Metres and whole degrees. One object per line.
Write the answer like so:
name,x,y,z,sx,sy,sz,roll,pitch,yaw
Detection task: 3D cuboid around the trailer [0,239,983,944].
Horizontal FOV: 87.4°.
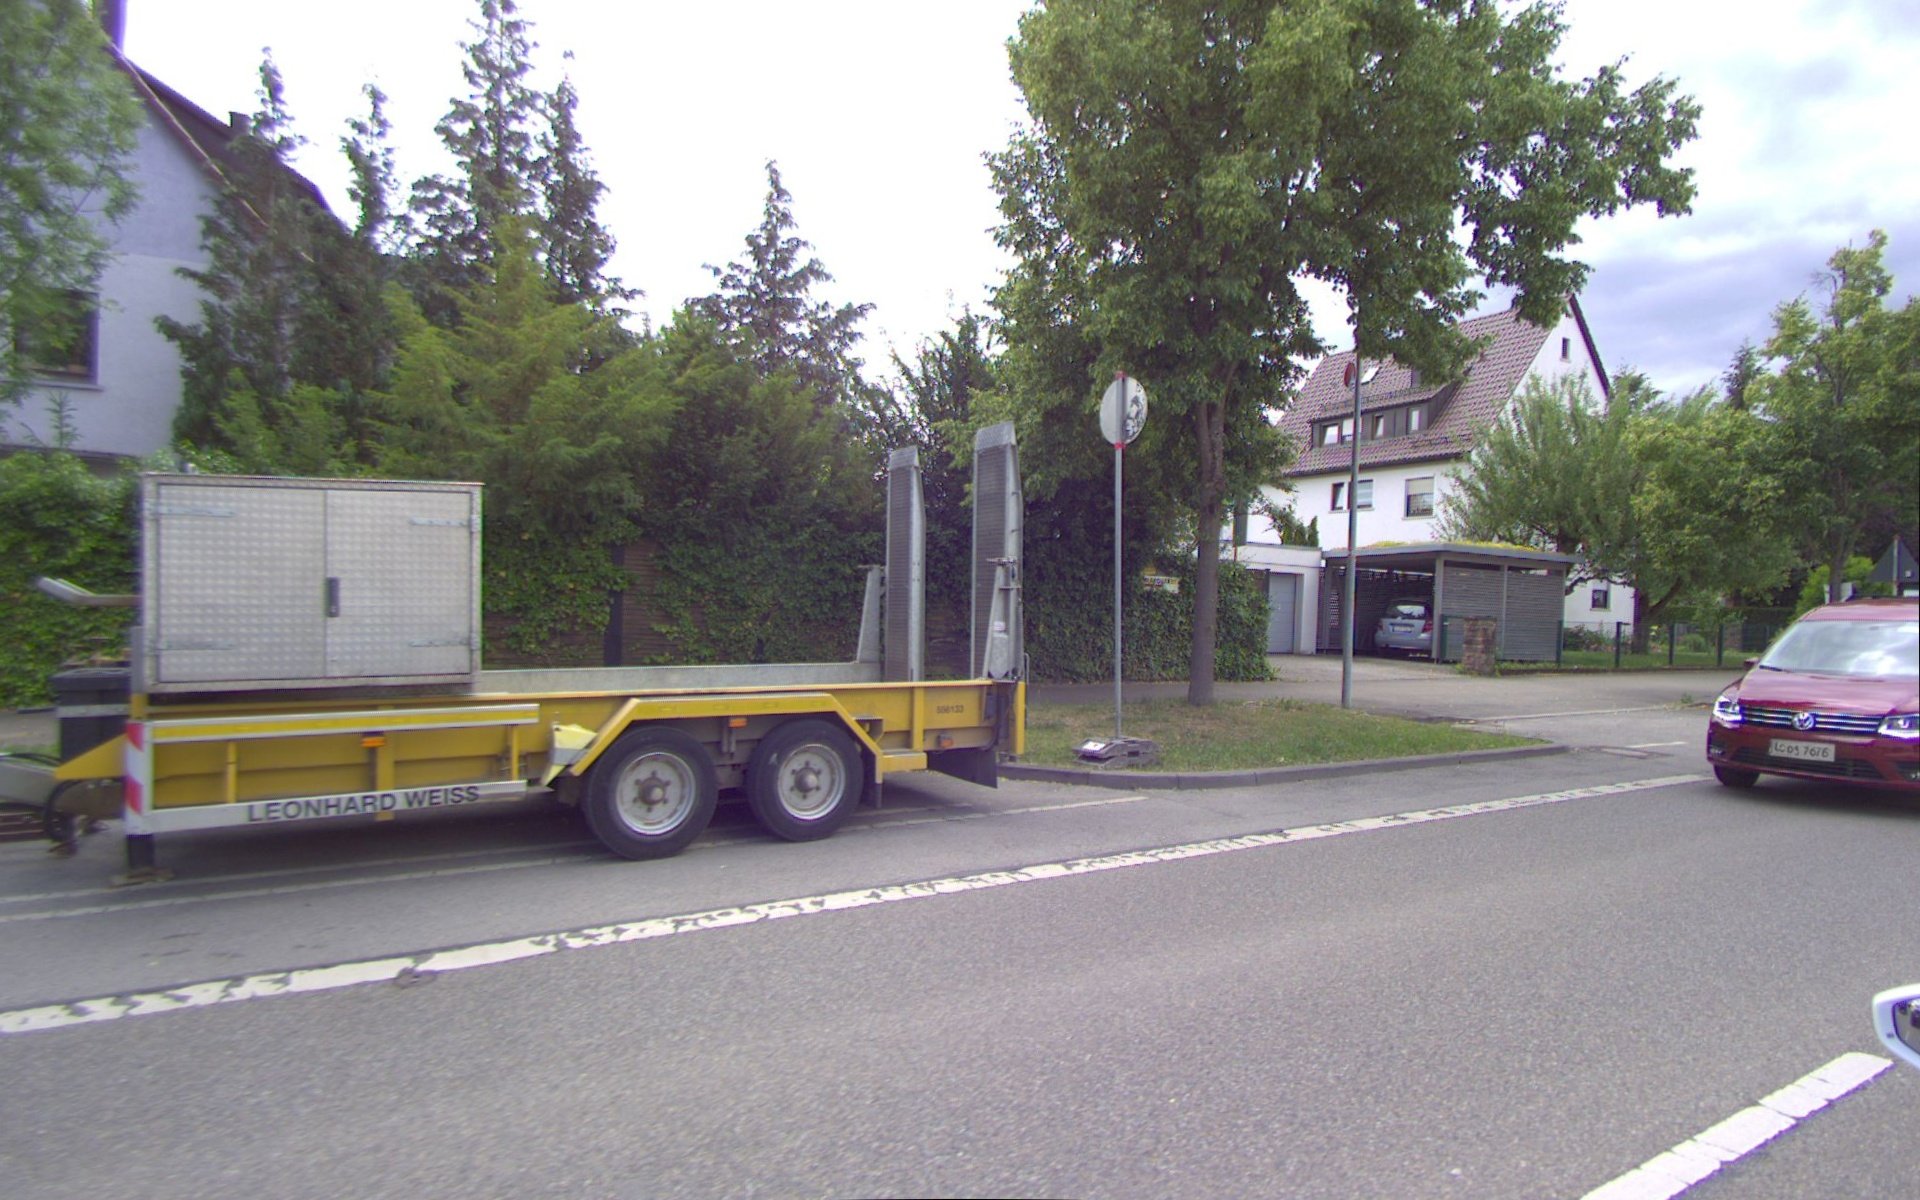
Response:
trailer,-3.704,-0.009,6.046,7.393,2.980,2.659,2,0,-32

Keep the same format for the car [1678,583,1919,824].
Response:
car,8.917,0.840,9.510,4.715,1.827,1.751,2,0,-32

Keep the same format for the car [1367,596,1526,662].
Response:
car,12.321,0.731,25.381,3.953,1.550,1.698,2,0,-30
